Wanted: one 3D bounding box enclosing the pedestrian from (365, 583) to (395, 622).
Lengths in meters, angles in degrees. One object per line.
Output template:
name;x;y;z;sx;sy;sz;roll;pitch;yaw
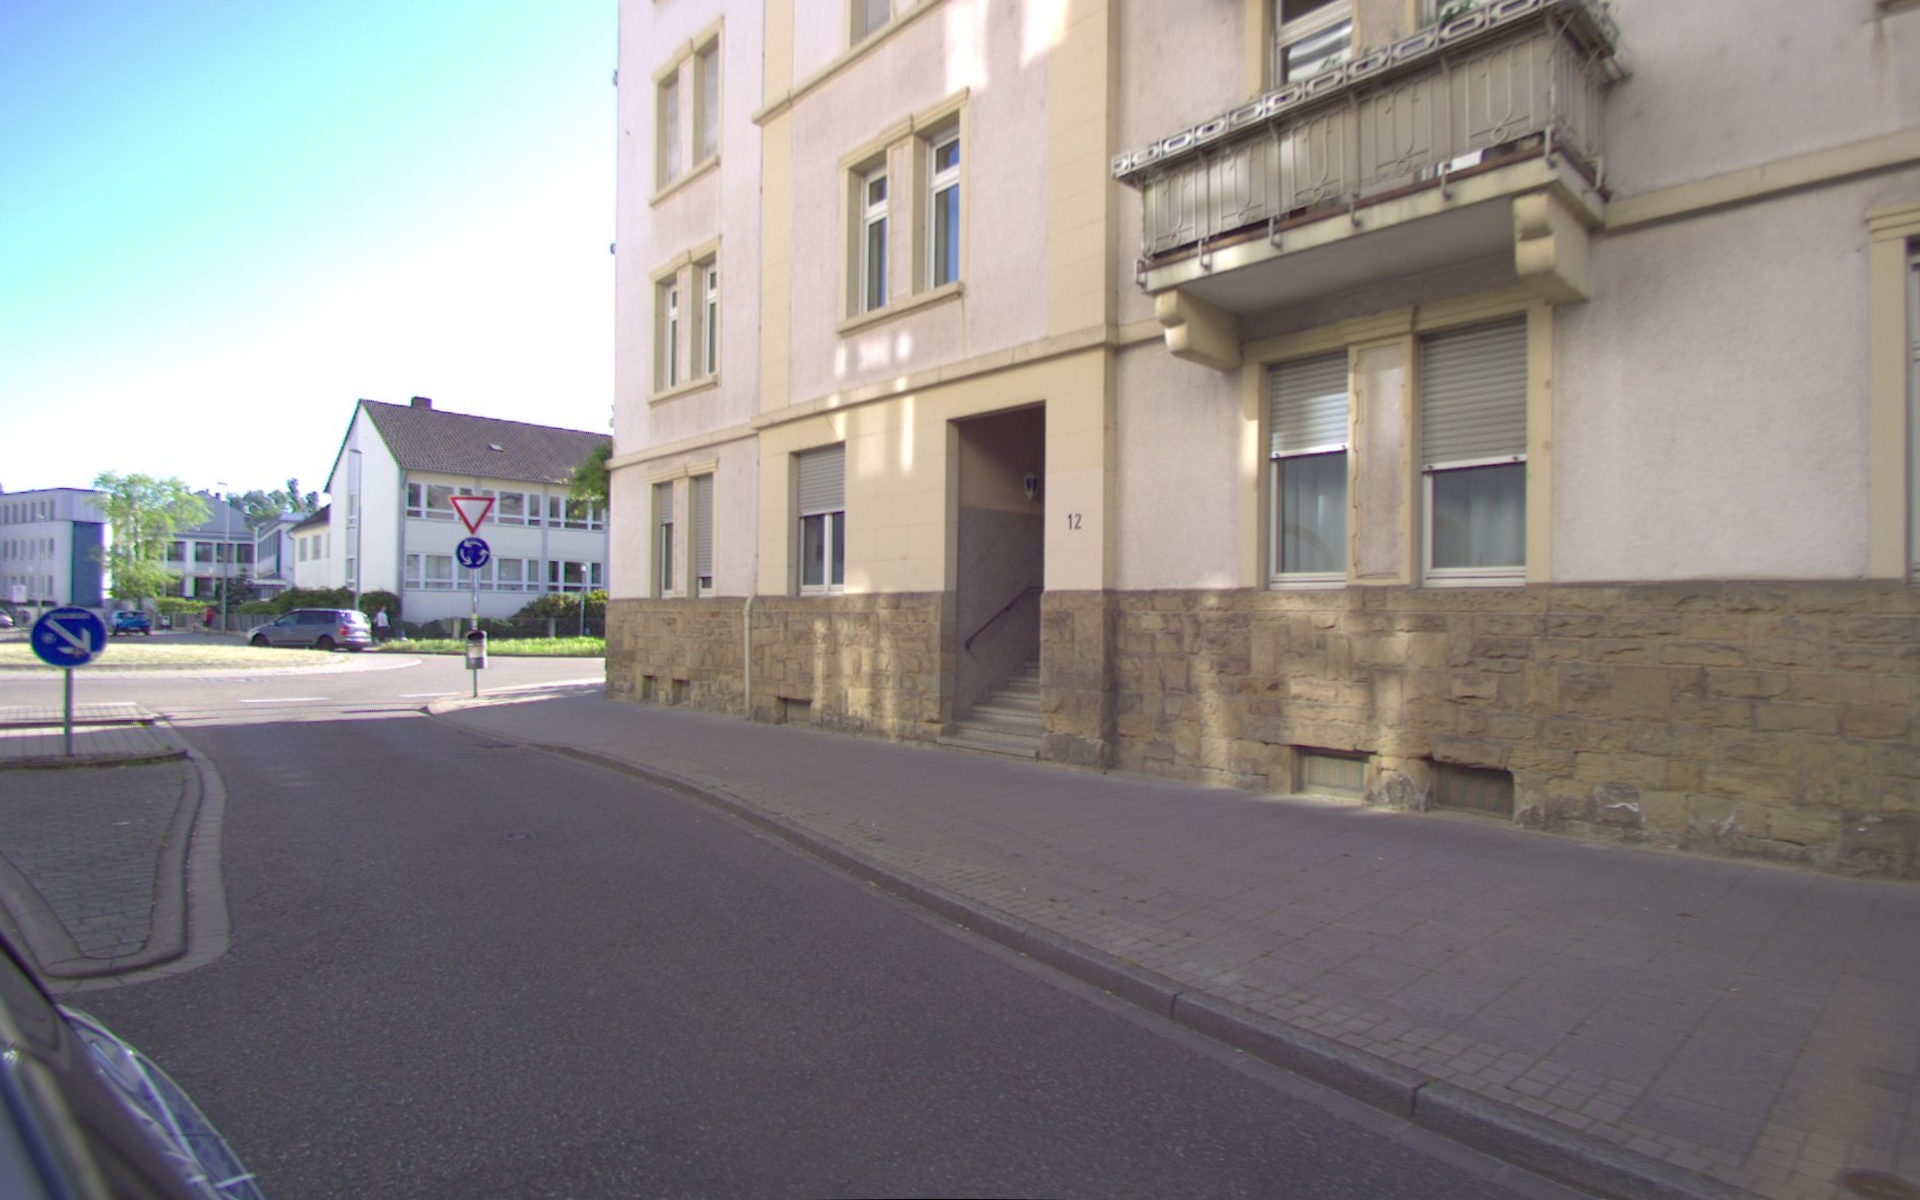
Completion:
pedestrian;-25.552;0.117;44.583;0.980;1.718;0.694;0;0;-13

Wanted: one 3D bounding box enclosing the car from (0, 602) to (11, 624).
car;-74.018;0.997;76.207;4.808;1.625;2.121;0;1;25

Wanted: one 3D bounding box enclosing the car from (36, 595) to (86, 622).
car;-49.935;0.510;56.195;4.000;1.393;1.693;-1;-3;43

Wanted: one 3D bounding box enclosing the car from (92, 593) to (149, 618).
car;-49.729;0.339;59.924;4.412;1.445;1.860;-1;0;41

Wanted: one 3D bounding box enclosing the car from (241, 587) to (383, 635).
car;-24.321;0.423;38.068;4.216;1.708;1.879;-1;-1;3

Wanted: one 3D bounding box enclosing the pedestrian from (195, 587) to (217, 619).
pedestrian;-41.401;0.163;55.567;0.997;1.718;0.808;0;0;43
